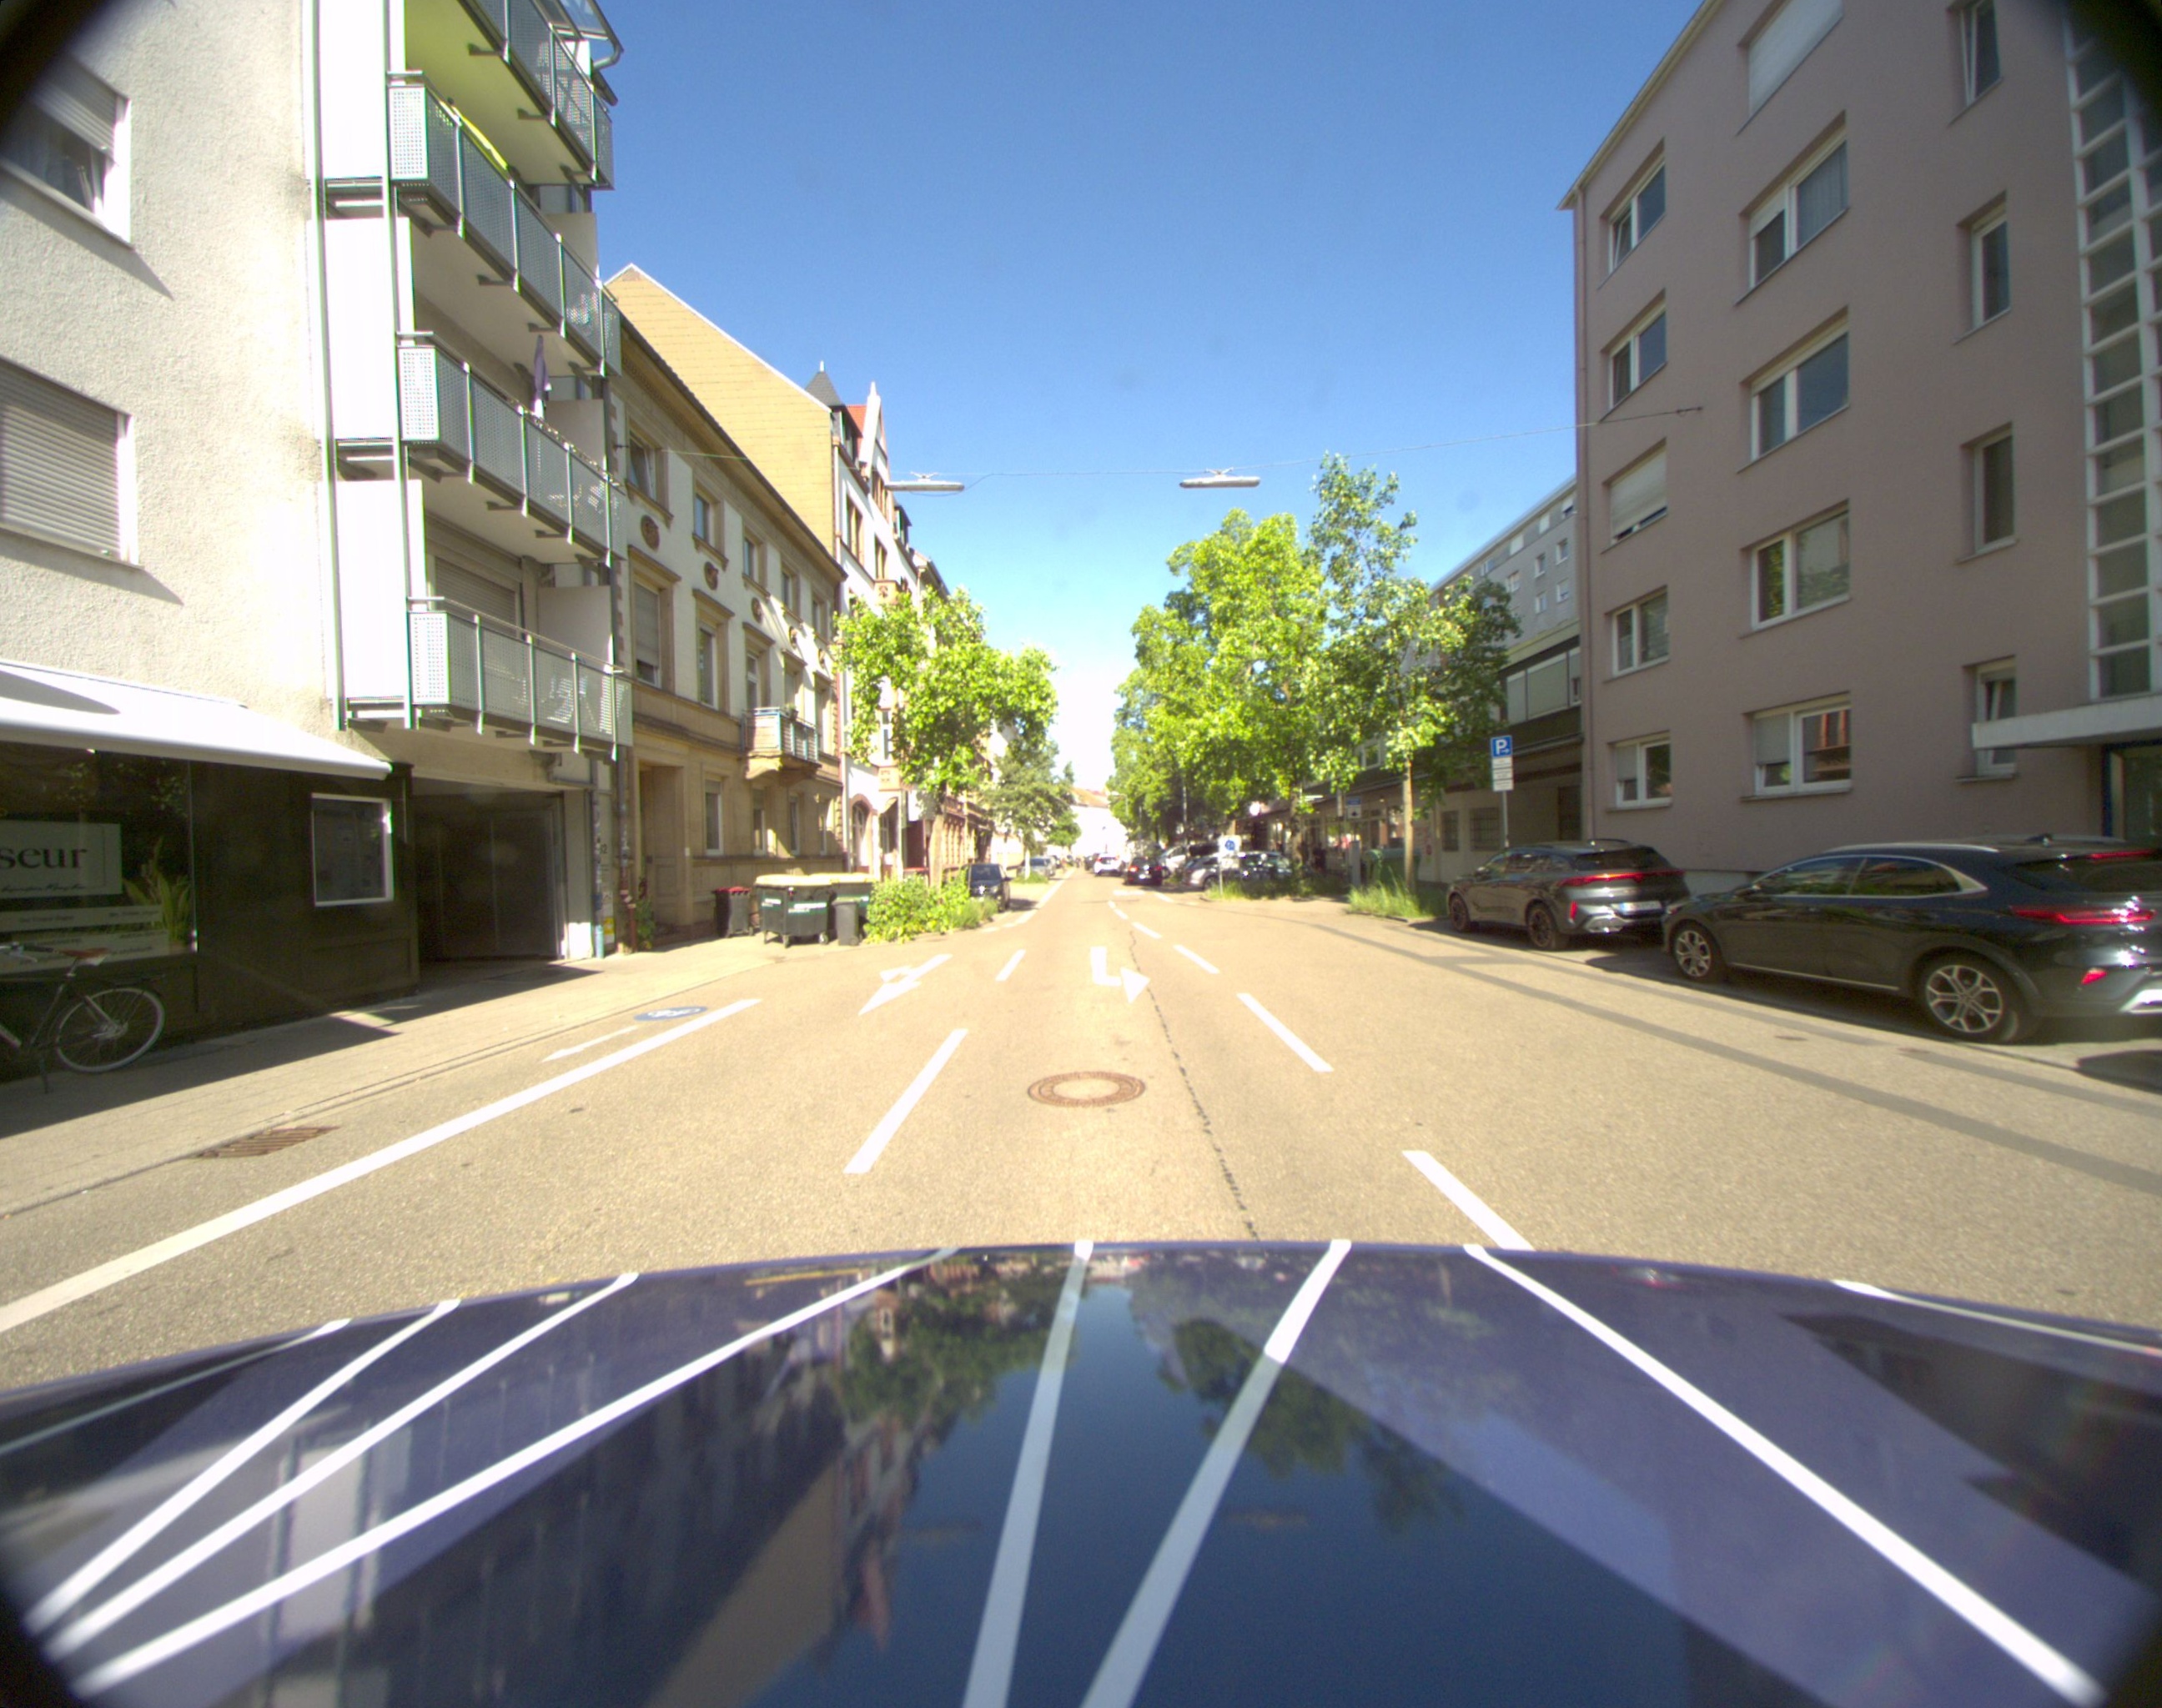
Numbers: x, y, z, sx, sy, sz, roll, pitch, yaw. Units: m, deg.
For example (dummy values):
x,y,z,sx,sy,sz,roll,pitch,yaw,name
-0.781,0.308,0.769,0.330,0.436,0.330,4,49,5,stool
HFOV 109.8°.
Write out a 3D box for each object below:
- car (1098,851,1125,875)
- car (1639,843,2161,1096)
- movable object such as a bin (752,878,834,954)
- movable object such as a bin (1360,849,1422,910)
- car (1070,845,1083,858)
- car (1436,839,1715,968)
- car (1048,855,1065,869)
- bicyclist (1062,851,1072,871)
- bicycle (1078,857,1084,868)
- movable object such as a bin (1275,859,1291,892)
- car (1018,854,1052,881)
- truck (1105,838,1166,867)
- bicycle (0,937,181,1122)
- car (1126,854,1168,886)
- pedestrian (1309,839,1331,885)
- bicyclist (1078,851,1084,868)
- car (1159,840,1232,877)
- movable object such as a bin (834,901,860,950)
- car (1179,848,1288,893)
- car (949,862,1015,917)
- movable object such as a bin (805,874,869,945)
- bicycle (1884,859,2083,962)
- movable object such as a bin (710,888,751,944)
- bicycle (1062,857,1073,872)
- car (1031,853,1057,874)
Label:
x,y,z,sx,sy,sz,roll,pitch,yaw,name
2.103,0.593,51.718,1.769,1.528,3.786,-1,0,3,car
7.512,0.715,6.900,1.821,1.499,4.245,-4,0,2,car
-5.593,1.166,14.771,1.212,1.318,1.052,2,3,42,movable object such as a bin
8.130,0.645,19.987,1.247,1.536,1.019,-2,1,5,movable object such as a bin
-0.736,-0.453,126.506,1.998,2.002,4.000,-2,0,1,car
7.586,0.654,12.251,1.821,1.583,4.141,-5,0,2,car
-2.738,0.855,85.959,1.653,1.447,3.290,-2,0,1,car
-1.133,0.606,62.639,0.748,1.588,0.613,-3,1,1,bicyclist
-0.006,1.006,87.694,0.570,1.139,2.259,-3,1,1,bicycle
7.614,0.793,28.670,0.488,1.218,0.409,-2,1,1,movable object such as a bin
-2.751,0.774,45.882,1.759,1.492,3.949,-2,0,0,car
5.111,-0.164,71.583,5.322,2.581,1.998,-2,1,-9,truck
-7.750,1.287,5.440,0.402,1.171,1.792,-2,0,1,bicycle
3.243,0.737,37.762,1.867,1.455,4.000,-1,0,3,car
10.602,0.362,33.689,0.753,2.002,0.566,-1,1,1,pedestrian
-0.016,0.633,87.627,0.578,1.911,0.613,-3,1,1,bicyclist
6.700,0.274,44.771,3.997,2.020,2.000,-2,1,1,car
-4.583,1.390,14.883,0.401,0.916,0.484,0,2,-7,movable object such as a bin
6.083,0.644,30.663,3.997,1.665,2.000,-2,1,1,car
-2.974,1.019,23.359,1.551,1.483,3.351,-2,0,0,car
-5.090,1.129,15.848,0.960,1.341,1.066,-1,2,-38,movable object such as a bin
10.756,0.624,9.149,0.391,1.070,1.650,-6,1,2,bicycle
-7.324,1.277,15.886,0.615,1.075,0.568,2,3,42,movable object such as a bin
-1.124,0.817,62.609,0.778,1.139,2.259,-3,1,1,bicycle
-2.639,0.662,55.197,1.653,1.483,3.290,-2,0,0,car
